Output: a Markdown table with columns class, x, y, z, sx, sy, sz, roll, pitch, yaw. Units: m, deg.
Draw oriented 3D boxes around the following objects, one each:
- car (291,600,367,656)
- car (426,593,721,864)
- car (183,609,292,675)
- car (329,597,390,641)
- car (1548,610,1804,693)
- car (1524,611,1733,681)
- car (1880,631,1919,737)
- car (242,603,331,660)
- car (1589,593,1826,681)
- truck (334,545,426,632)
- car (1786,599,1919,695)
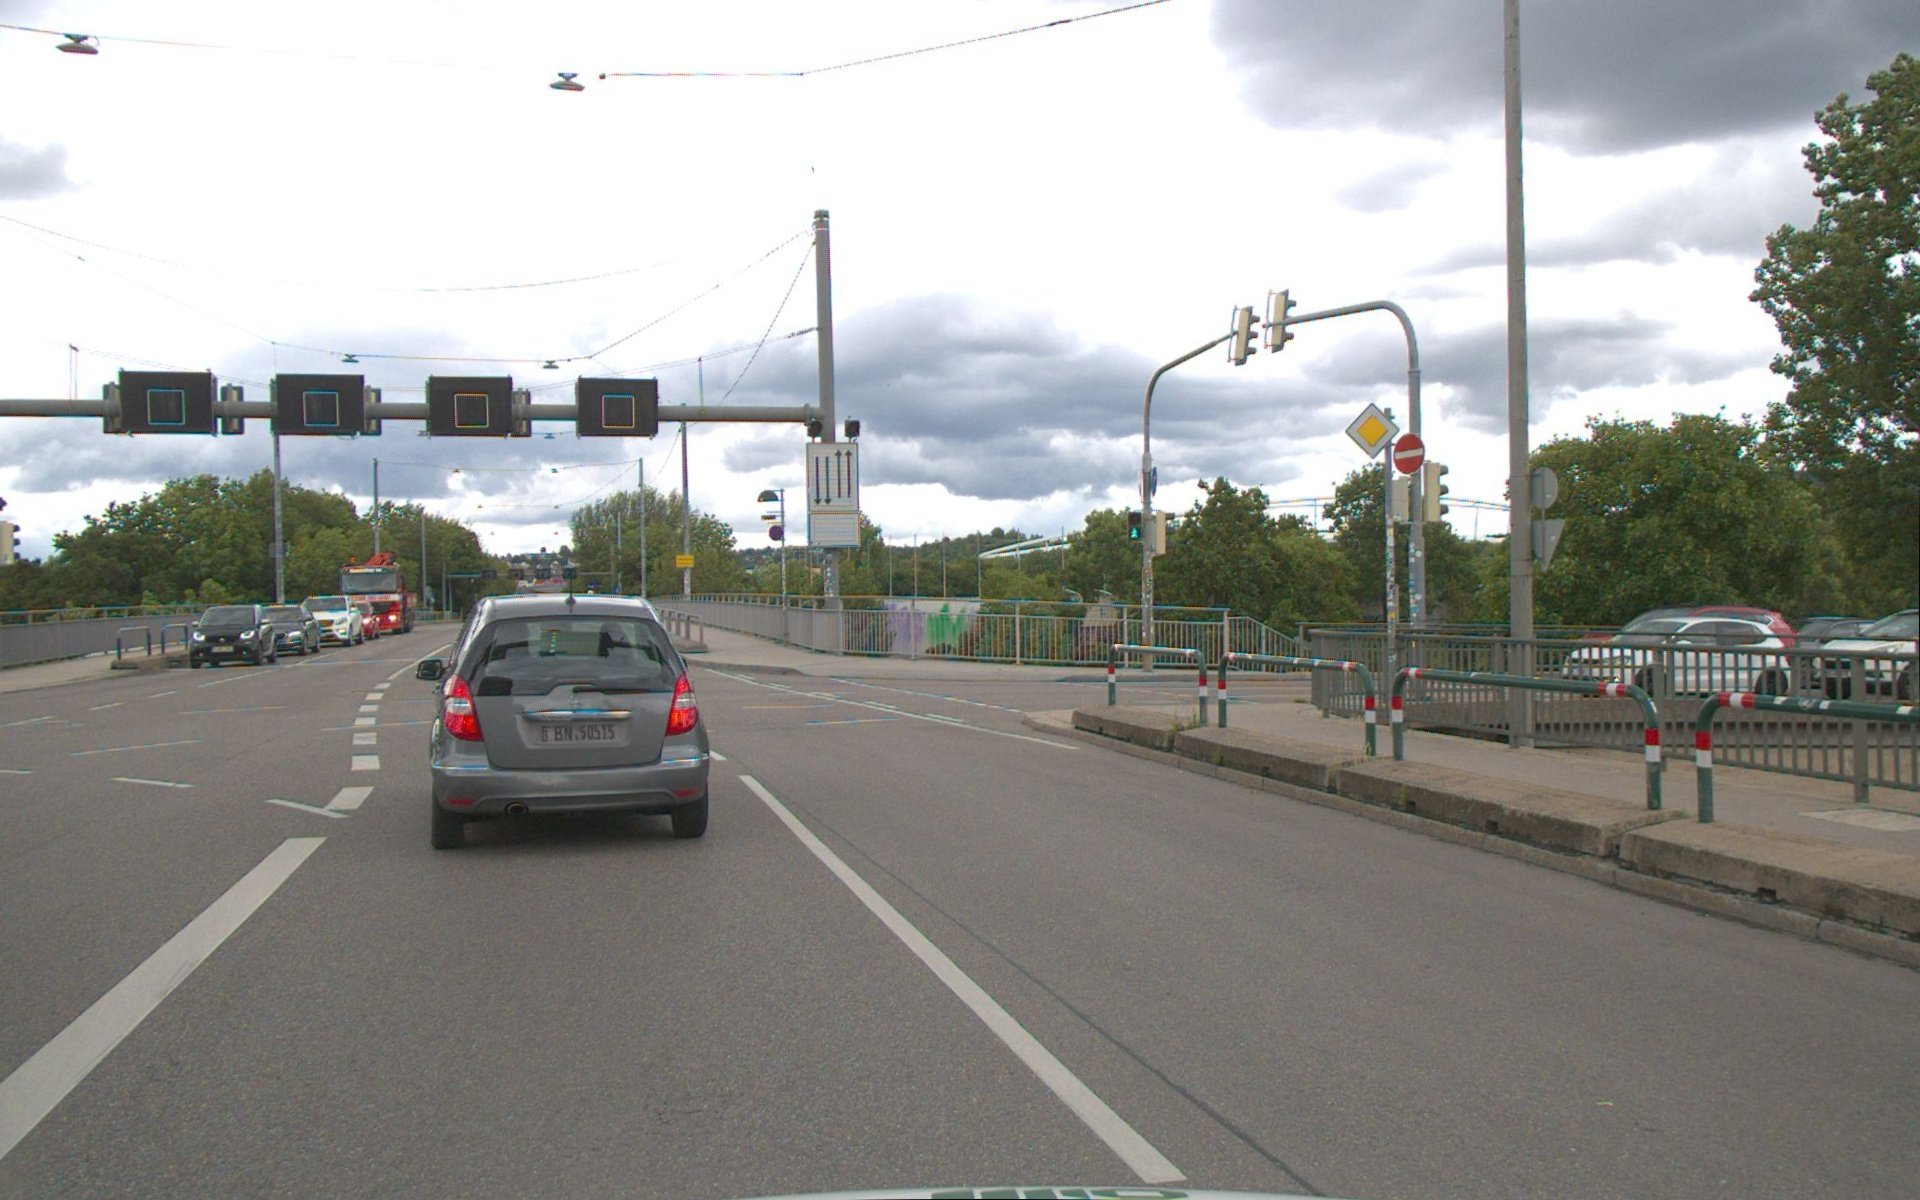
| class | x | y | z | sx | sy | sz | roll | pitch | yaw |
| --- | --- | --- | --- | --- | --- | --- | --- | --- | --- |
| car | -21.761 | 0.919 | 57.204 | 1.848 | 1.792 | 4.784 | -2 | 1 | -14 |
| car | -2.778 | 0.753 | 11.809 | 1.716 | 1.577 | 3.856 | 0 | 0 | -14 |
| car | -18.563 | 1.036 | 42.653 | 1.803 | 1.530 | 3.859 | -2 | 1 | -12 |
| car | -23.975 | 0.719 | 66.136 | 1.848 | 1.630 | 4.000 | -2 | 1 | -14 |
| car | 12.004 | 0.875 | 27.796 | 3.692 | 1.336 | 1.782 | 1 | -2 | -17 |
| car | 14.464 | 1.002 | 35.830 | 4.074 | 1.445 | 1.687 | 1 | -2 | -17 |
| car | 21.454 | 1.597 | 33.673 | 4.457 | 2.048 | 2.204 | -4 | 1 | -16 |
| car | -20.023 | 0.895 | 49.338 | 1.805 | 1.530 | 4.499 | -2 | 1 | -14 |
| car | 14.064 | 0.719 | 31.161 | 3.931 | 1.567 | 1.688 | 1 | -2 | -17 |
| truck | -26.469 | -0.486 | 75.930 | 2.955 | 3.628 | 9.944 | -2 | 1 | -14 |
| car | 17.370 | 0.862 | 29.752 | 4.257 | 1.648 | 1.992 | 1 | -2 | -15 |
